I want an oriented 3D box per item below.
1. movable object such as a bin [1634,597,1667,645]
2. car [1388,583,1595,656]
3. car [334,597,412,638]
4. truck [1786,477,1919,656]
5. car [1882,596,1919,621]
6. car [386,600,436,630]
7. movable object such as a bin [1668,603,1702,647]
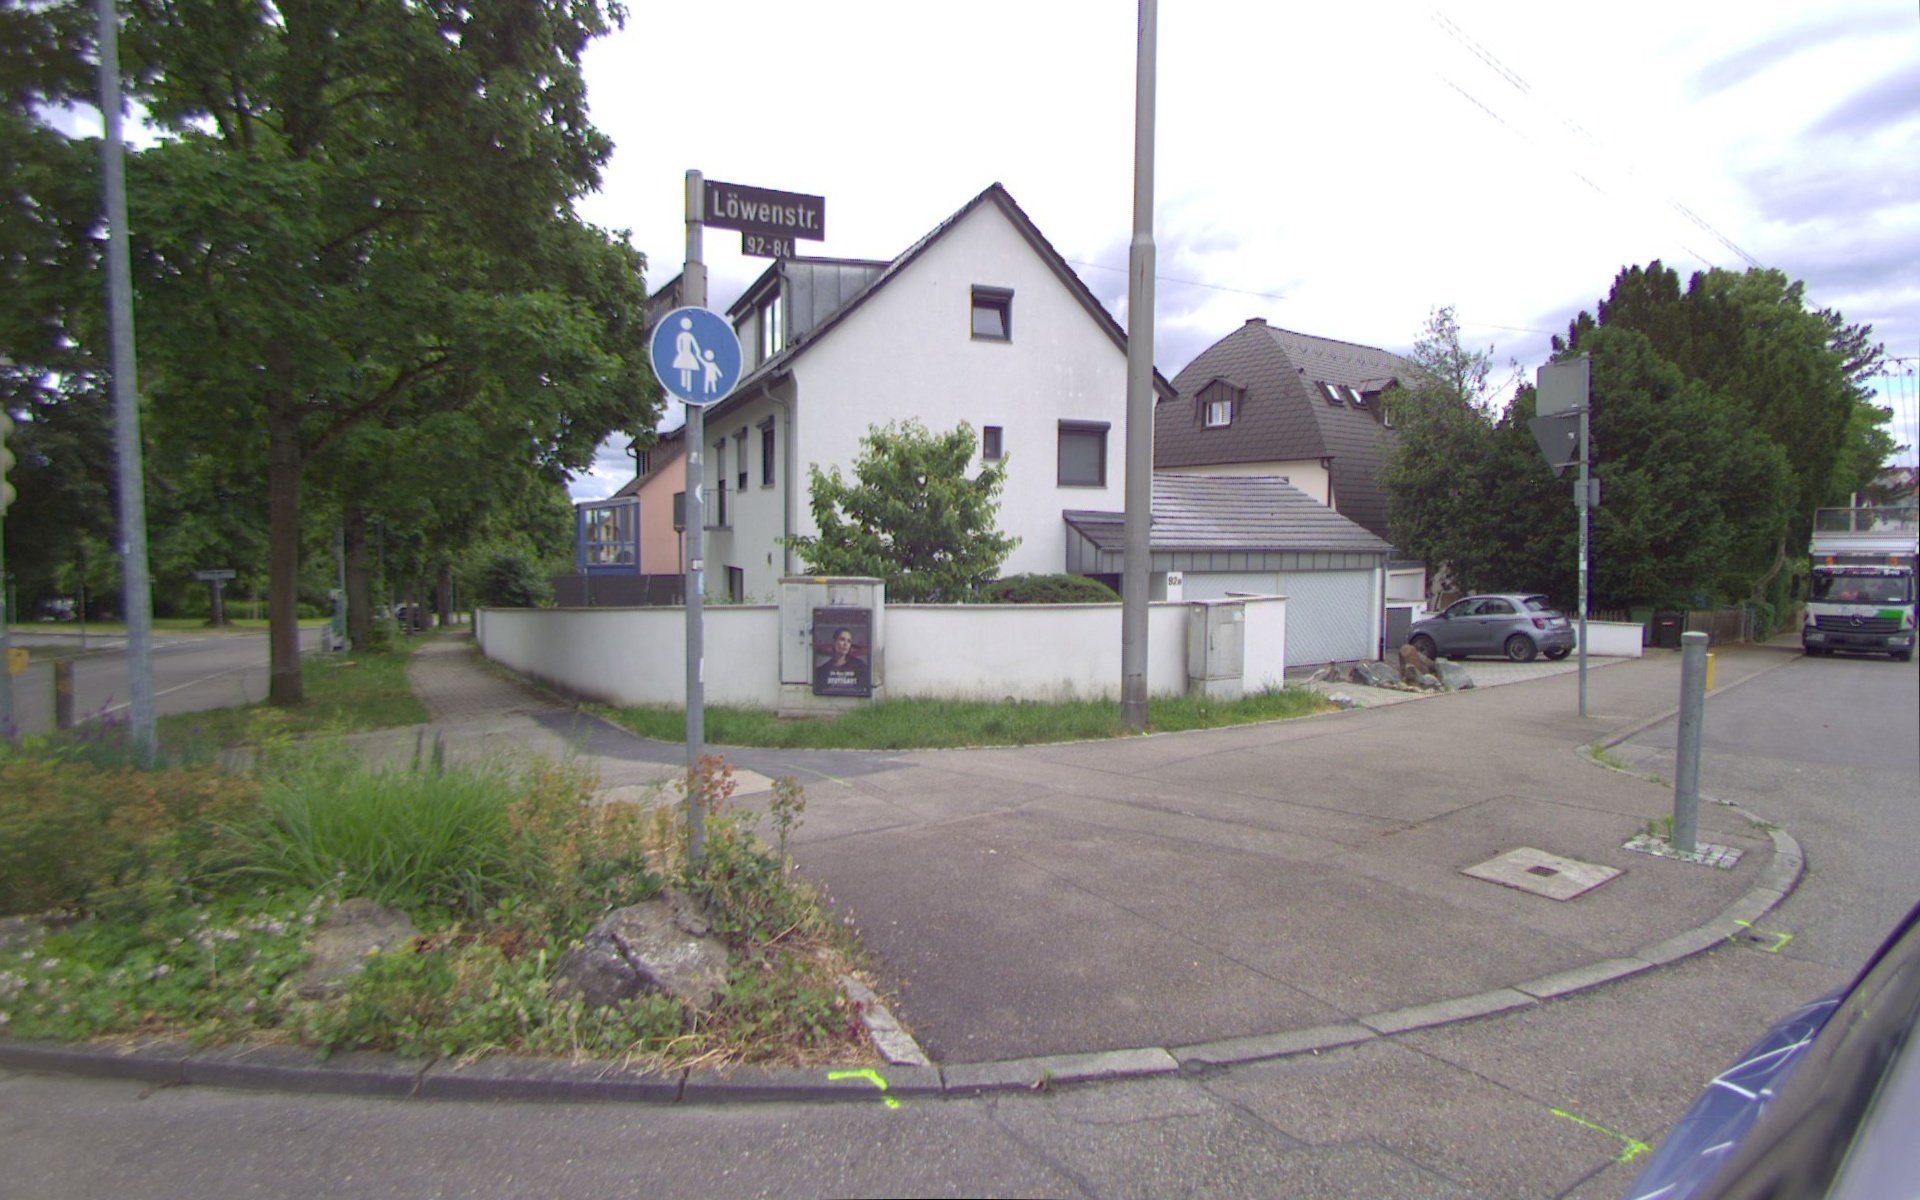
[{"bbox_3d":[18.149,0.564,26.600,0.597,1.223,0.937,-1,-3,42],"label":"movable object such as a bin"},{"bbox_3d":[12.066,0.473,23.213,1.659,1.516,3.860,0,-2,-32],"label":"car"},{"bbox_3d":[-25.138,0.714,43.466,1.958,1.571,4.010,1,2,-16],"label":"car"},{"bbox_3d":[26.706,-0.946,29.806,3.144,4.607,7.832,4,3,42],"label":"truck"},{"bbox_3d":[63.723,0.547,68.421,1.872,1.571,3.763,3,2,44],"label":"car"},{"bbox_3d":[-29.939,0.801,55.302,1.724,1.579,3.853,0,0,-18],"label":"car"},{"bbox_3d":[18.701,0.643,26.105,0.597,1.119,0.937,-1,-3,42],"label":"movable object such as a bin"}]
